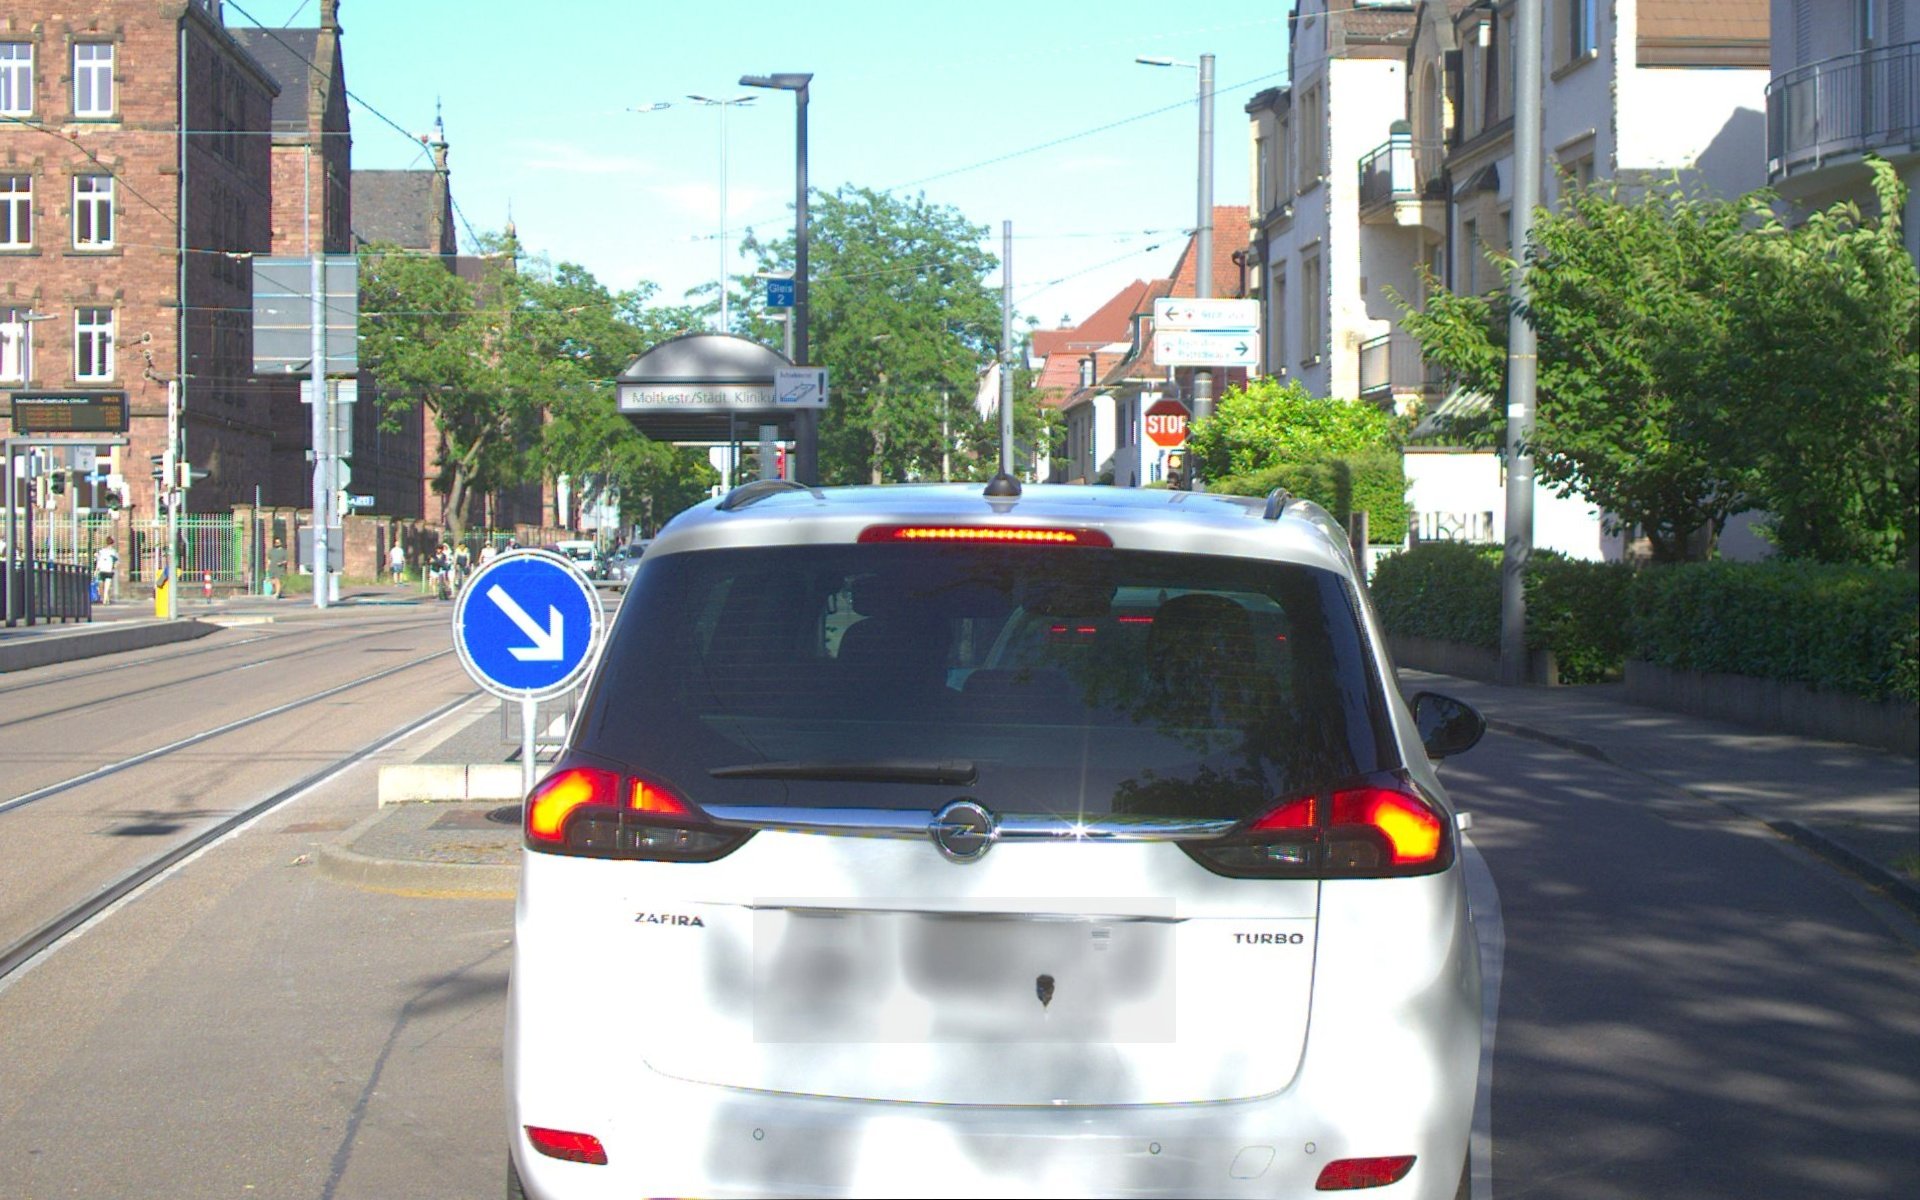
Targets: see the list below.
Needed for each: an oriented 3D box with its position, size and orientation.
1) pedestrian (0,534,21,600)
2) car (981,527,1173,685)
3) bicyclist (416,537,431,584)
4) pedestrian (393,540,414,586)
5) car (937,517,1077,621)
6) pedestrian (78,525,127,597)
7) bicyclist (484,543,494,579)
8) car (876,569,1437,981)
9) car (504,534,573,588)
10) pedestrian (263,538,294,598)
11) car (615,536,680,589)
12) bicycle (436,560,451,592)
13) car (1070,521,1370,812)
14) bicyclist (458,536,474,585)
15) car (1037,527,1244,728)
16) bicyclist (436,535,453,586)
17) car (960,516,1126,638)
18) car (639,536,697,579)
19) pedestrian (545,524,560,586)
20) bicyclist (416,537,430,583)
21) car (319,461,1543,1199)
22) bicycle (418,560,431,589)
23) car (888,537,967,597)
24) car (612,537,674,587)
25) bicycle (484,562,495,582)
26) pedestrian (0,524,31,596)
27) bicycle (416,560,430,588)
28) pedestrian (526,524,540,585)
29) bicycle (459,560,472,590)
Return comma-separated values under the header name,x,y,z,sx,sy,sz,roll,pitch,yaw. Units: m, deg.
name,x,y,z,sx,sy,sz,roll,pitch,yaw
pedestrian,-23.052,-0.795,82.522,0.802,1.583,0.935,1,0,-3
car,1.175,0.026,36.185,1.830,1.574,4.010,0,1,-1
bicyclist,-17.664,-1.317,113.267,0.444,1.548,0.496,0,1,-4
pedestrian,-21.252,-1.413,131.310,0.734,1.708,0.754,1,0,-6
car,0.666,-0.487,51.766,1.993,1.497,4.000,0,1,-1
pedestrian,-20.308,-0.927,81.442,0.895,1.678,1.029,1,0,-1
bicyclist,-17.180,-1.433,125.406,0.359,1.299,0.398,0,1,-4
car,0.744,0.591,13.989,1.953,1.392,4.000,0,1,2
car,-13.116,-1.228,107.093,1.993,1.623,4.001,0,1,-5
pedestrian,-19.546,-0.923,98.666,0.734,1.708,0.706,1,0,-1
car,-9.736,-1.191,107.316,1.993,1.623,4.001,0,1,-5
bicycle,-15.483,-0.718,103.089,0.344,0.946,1.160,1,0,-4
car,1.492,0.333,20.834,1.637,1.595,3.854,0,1,2
bicyclist,-15.689,-1.247,109.156,0.444,1.548,0.496,0,1,-4
car,1.493,0.180,29.262,1.637,1.595,3.854,0,1,2
bicyclist,-15.474,-1.187,103.289,0.444,1.548,0.743,0,1,-4
car,1.019,-0.318,44.306,1.993,1.497,4.000,0,1,-1
car,-11.080,-1.619,130.659,1.993,1.623,4.001,0,1,-2
pedestrian,-13.302,-1.475,112.257,0.444,2.007,0.496,0,1,-4
bicyclist,-17.982,-1.340,115.102,0.444,1.548,0.496,0,1,-4
car,0.136,0.585,7.608,1.994,1.639,3.992,1,1,6
bicycle,-17.648,-0.851,113.316,0.344,0.946,0.997,1,0,-4
car,-0.922,-0.943,96.185,1.993,1.623,4.001,0,1,-4
car,-10.533,-1.274,114.423,1.993,1.623,4.001,0,1,-5
bicycle,-17.170,-1.005,125.413,0.344,0.722,0.997,1,1,-4
pedestrian,-22.409,-0.943,80.861,0.843,1.686,1.029,1,0,-1
bicycle,-17.986,-0.874,115.146,0.344,0.946,0.997,1,0,-4
pedestrian,-13.907,-1.480,111.957,0.444,2.007,0.496,0,1,-4
bicycle,-15.698,-0.782,109.171,0.344,0.946,0.997,1,0,-4
